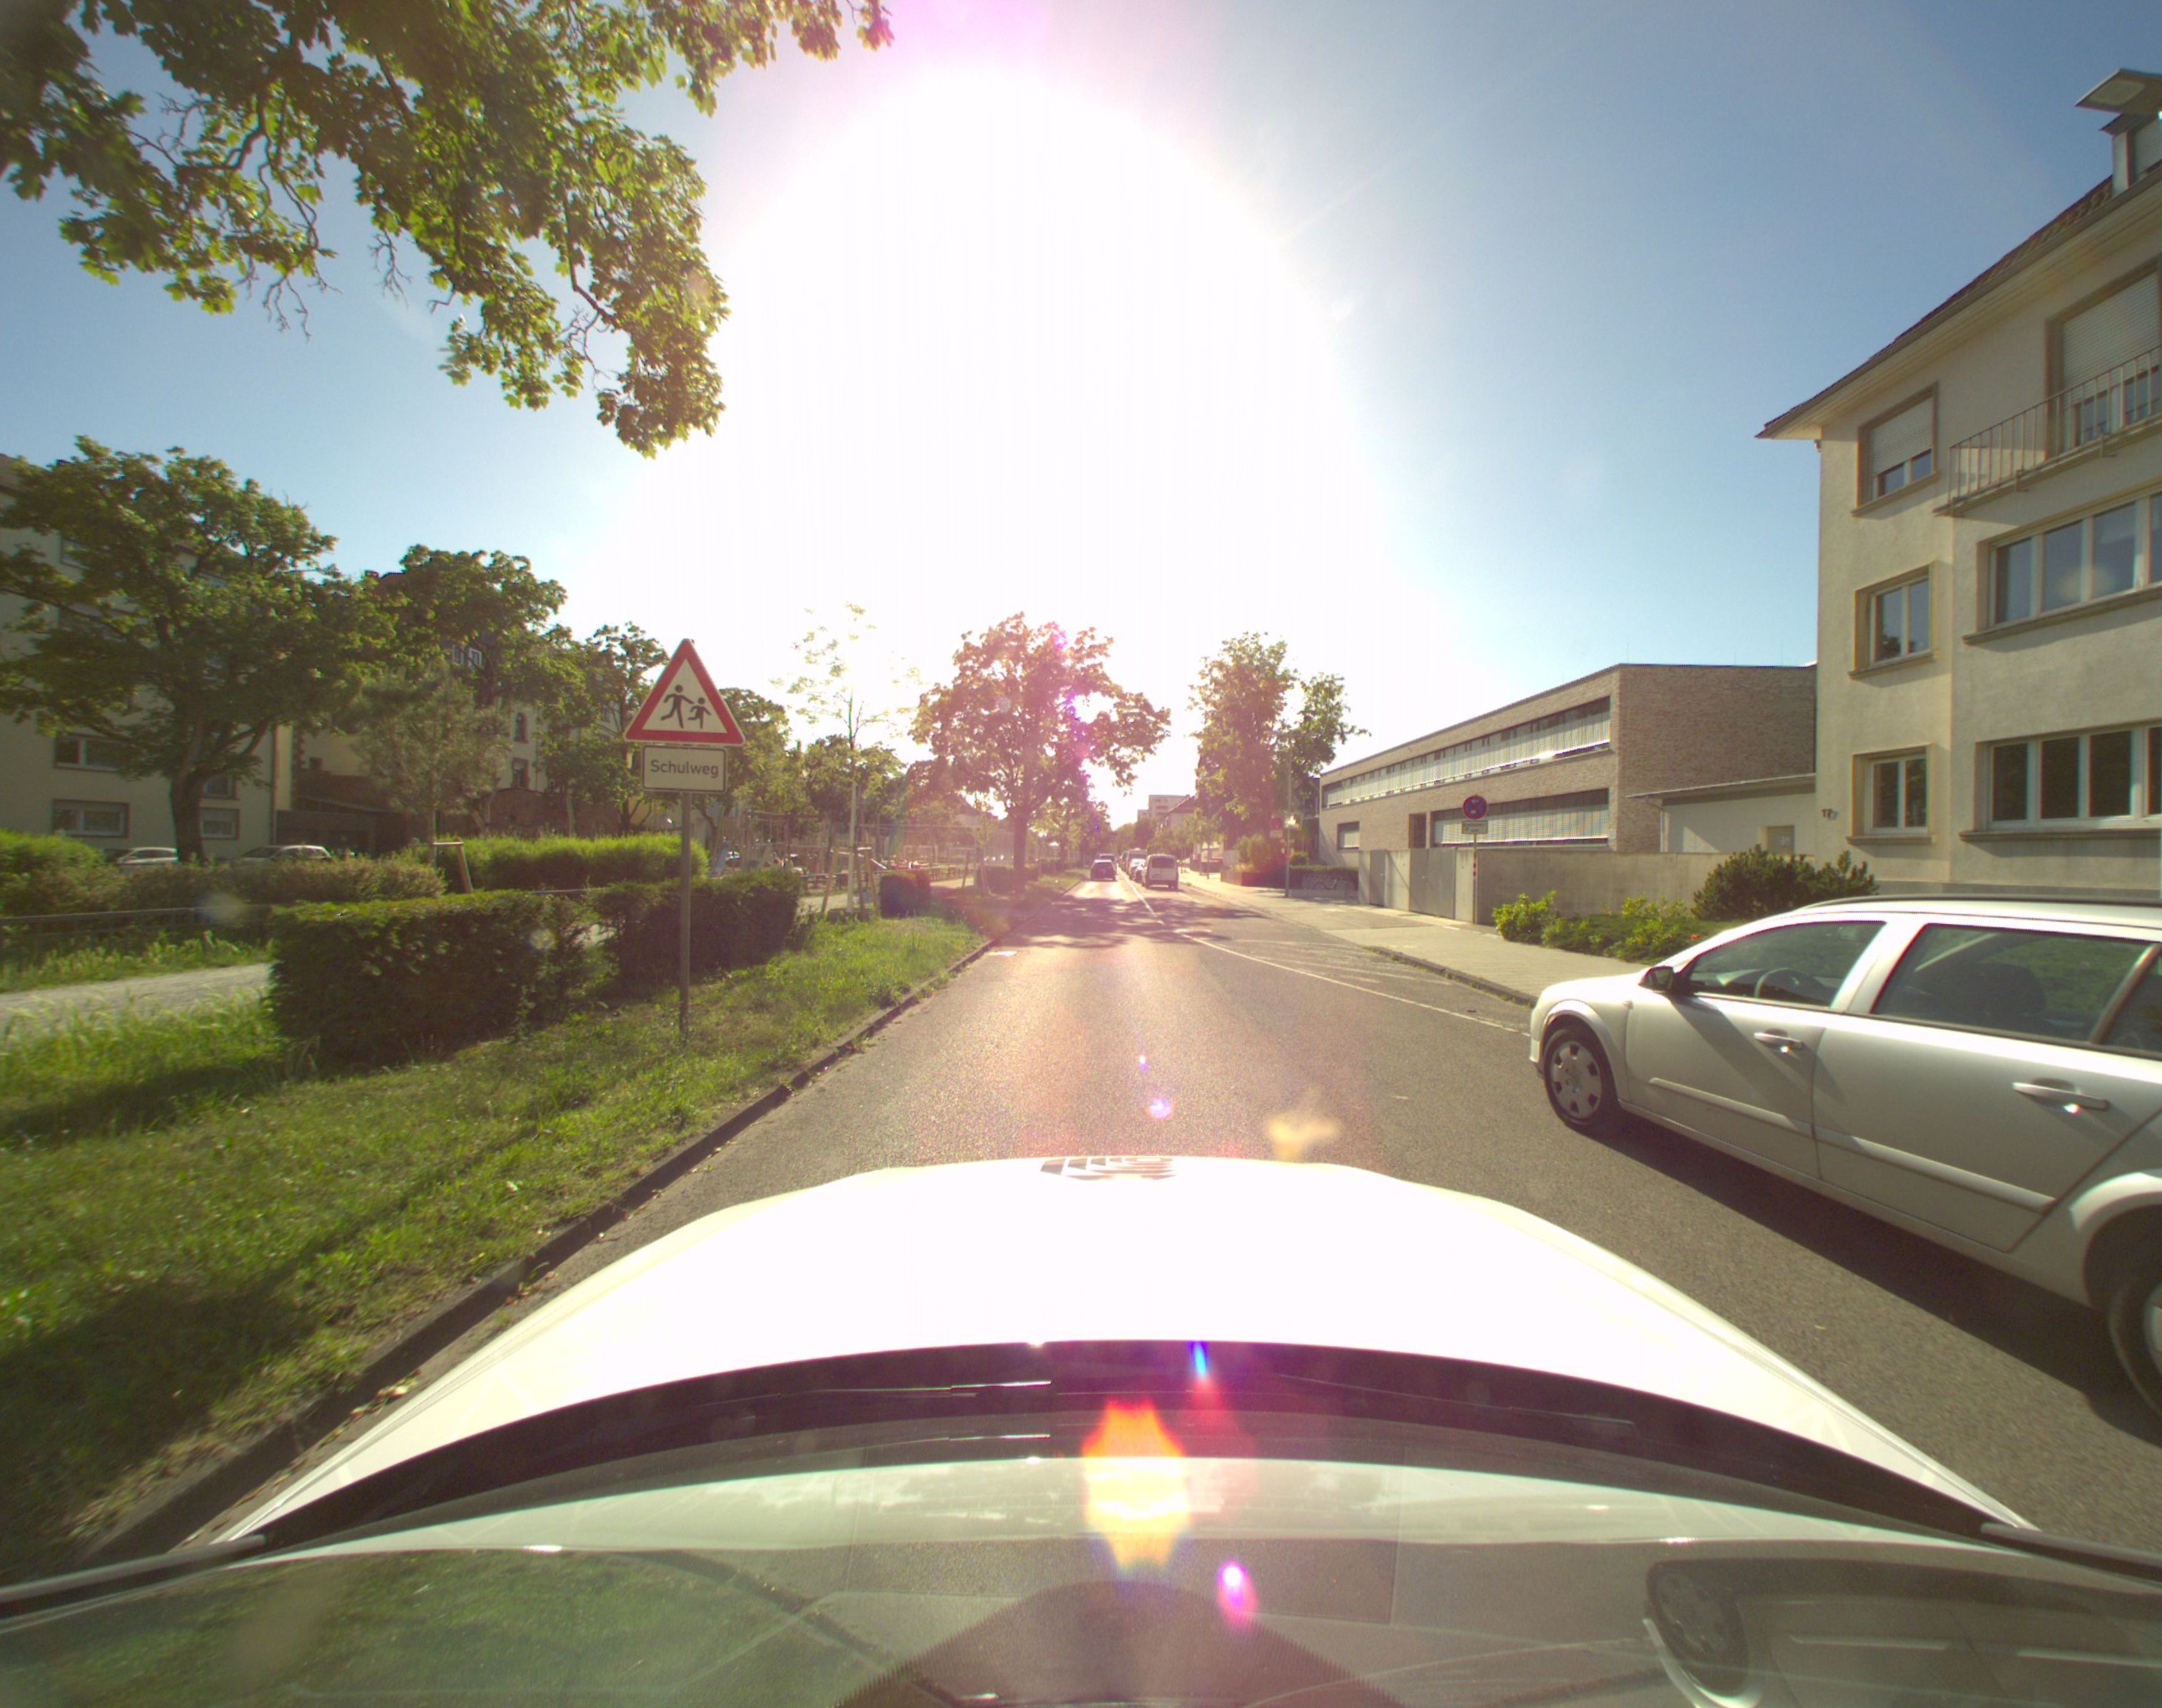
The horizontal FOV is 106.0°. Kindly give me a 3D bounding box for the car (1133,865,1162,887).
[{"bbox_3d":[4.457,1.472,55.206,1.695,1.325,4.131,2,-1,2],"label":"car"}]

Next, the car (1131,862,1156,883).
[{"bbox_3d":[4.675,1.374,61.255,1.695,1.478,4.175,2,-1,2],"label":"car"}]

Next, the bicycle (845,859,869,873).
[{"bbox_3d":[-18.199,0.962,66.119,1.788,1.107,0.500,1,-1,0],"label":"bicycle"}]

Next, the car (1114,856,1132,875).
[{"bbox_3d":[5.735,1.560,111.236,2.108,2.516,6.532,1,-1,1],"label":"car"}]

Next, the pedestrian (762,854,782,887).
[{"bbox_3d":[-15.738,0.824,41.441,0.643,1.661,0.653,1,-1,20],"label":"pedestrian"}]

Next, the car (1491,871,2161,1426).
[{"bbox_3d":[3.743,0.869,3.433,1.655,1.465,4.407,3,-1,-2],"label":"car"}]

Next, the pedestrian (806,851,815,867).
[{"bbox_3d":[-27.784,0.545,83.758,0.645,1.661,0.650,0,-1,2],"label":"pedestrian"}]

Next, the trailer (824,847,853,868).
[{"bbox_3d":[-35.464,0.552,119.145,2.334,2.870,5.804,2,-1,1],"label":"trailer"}]

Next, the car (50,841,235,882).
[{"bbox_3d":[-38.067,0.317,33.275,1.899,1.510,4.765,2,-1,1],"label":"car"}]

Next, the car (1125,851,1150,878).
[{"bbox_3d":[5.618,1.070,81.638,2.232,2.574,5.435,2,-1,2],"label":"car"}]

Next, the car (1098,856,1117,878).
[{"bbox_3d":[2.718,1.274,82.465,1.787,2.122,4.002,1,-1,2],"label":"car"}]

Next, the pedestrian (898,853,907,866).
[{"bbox_3d":[-18.039,0.583,82.298,0.642,1.318,0.654,1,-1,31],"label":"pedestrian"}]

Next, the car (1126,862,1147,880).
[{"bbox_3d":[5.067,1.506,74.188,1.614,1.588,3.591,1,0,0],"label":"car"}]

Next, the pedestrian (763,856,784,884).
[{"bbox_3d":[-15.113,0.783,40.026,0.643,1.329,0.653,1,-1,20],"label":"pedestrian"}]

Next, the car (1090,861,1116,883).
[{"bbox_3d":[1.601,1.253,58.091,1.787,1.510,4.002,1,-1,2],"label":"car"}]

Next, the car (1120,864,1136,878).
[{"bbox_3d":[5.705,2.079,99.062,1.839,1.640,4.504,1,-1,1],"label":"car"}]

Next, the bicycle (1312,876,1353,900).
[{"bbox_3d":[11.463,1.540,37.111,1.663,1.030,0.500,3,-1,-1],"label":"bicycle"}]

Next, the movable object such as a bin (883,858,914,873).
[{"bbox_3d":[-15.173,0.975,67.689,2.324,1.242,1.055,0,-1,-3],"label":"movable object such as a bin"}]

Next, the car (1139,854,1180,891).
[{"bbox_3d":[4.265,0.987,44.830,1.802,1.908,4.461,2,-1,1],"label":"car"}]

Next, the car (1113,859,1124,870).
[{"bbox_3d":[6.643,1.816,145.140,1.786,1.855,4.418,1,-1,4],"label":"car"}]
